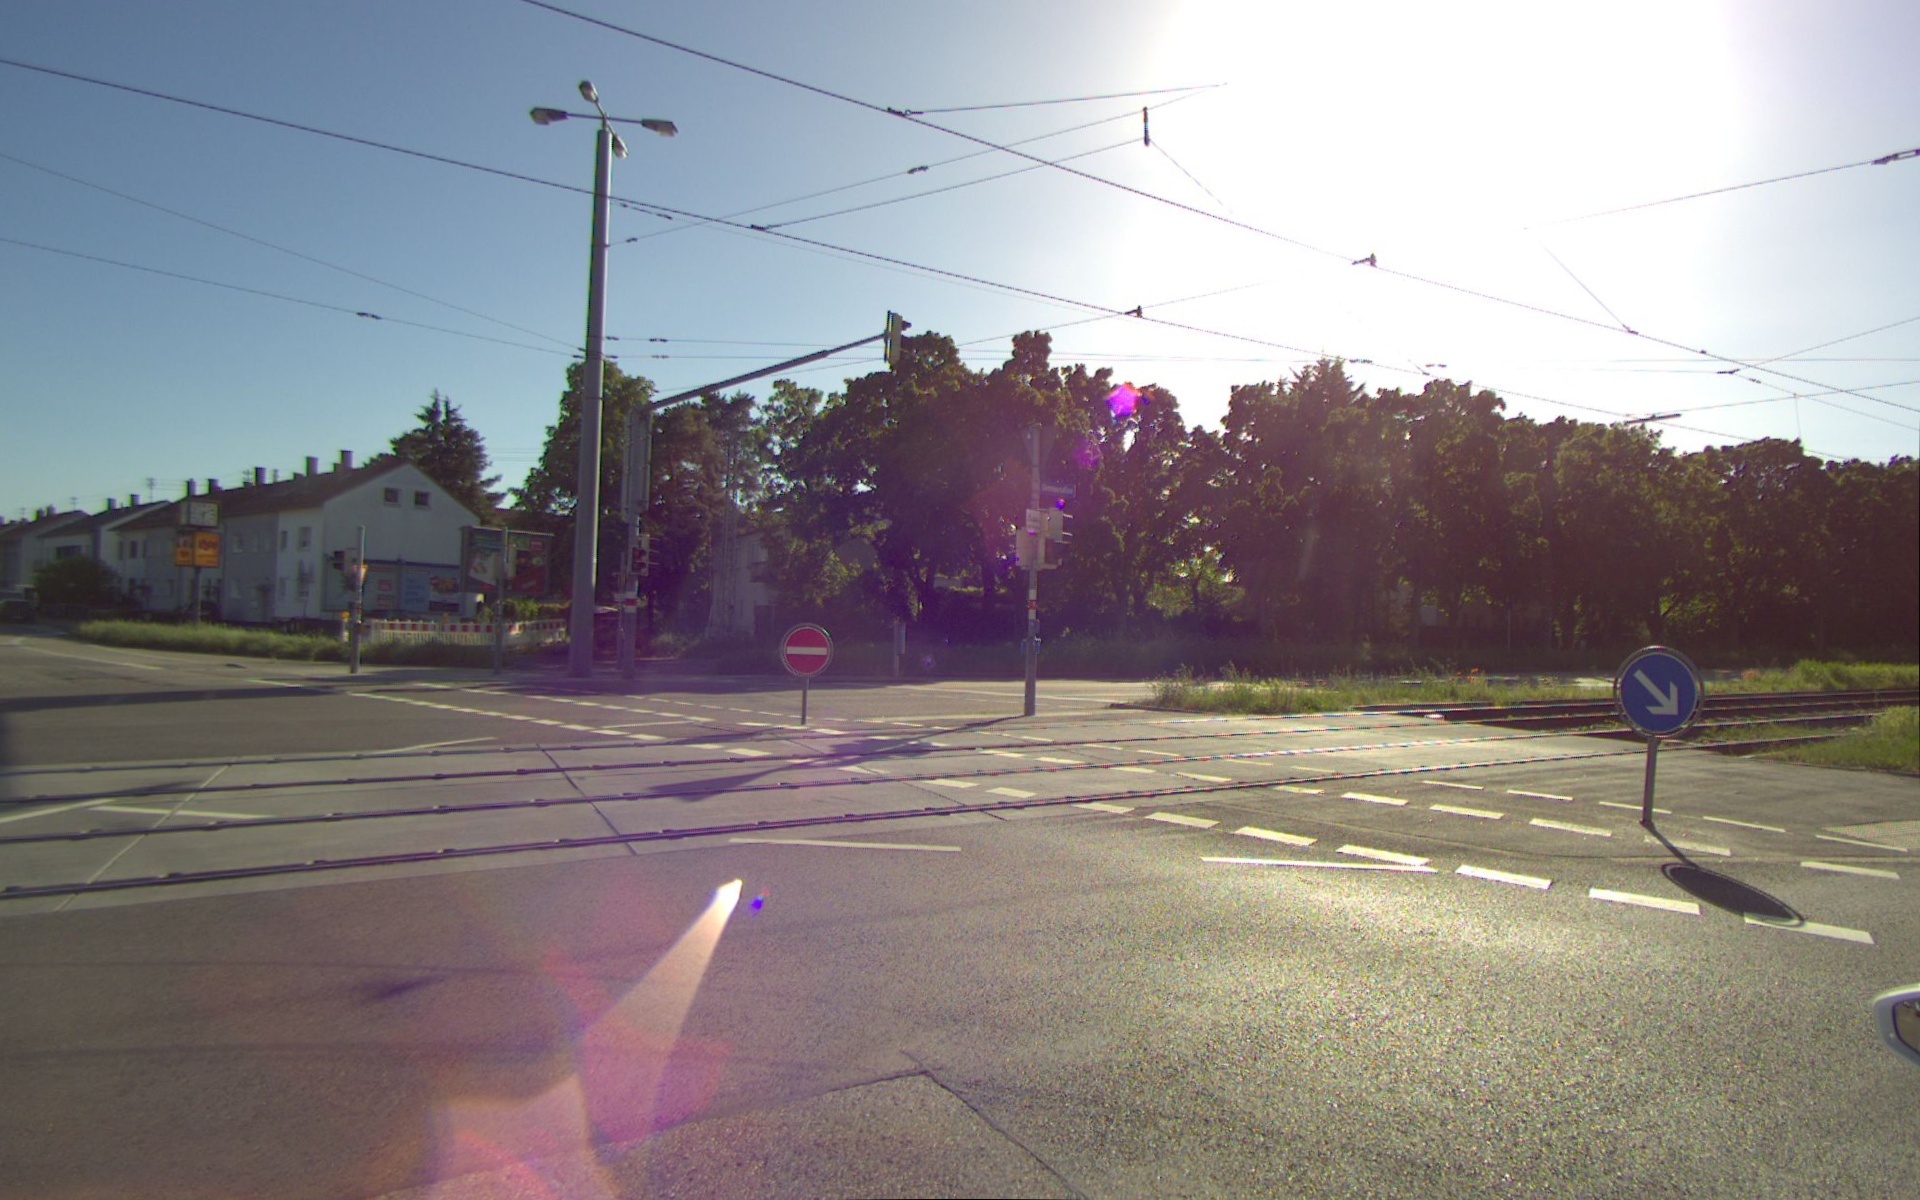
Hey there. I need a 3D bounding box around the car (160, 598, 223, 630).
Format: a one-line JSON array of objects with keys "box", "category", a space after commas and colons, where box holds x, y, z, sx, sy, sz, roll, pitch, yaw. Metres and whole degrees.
[{"box": [-45.363, 0.813, 59.266, 3.936, 1.785, 1.993, 1, -1, 37], "category": "car"}]

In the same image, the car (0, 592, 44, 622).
[{"box": [-59.405, 0.399, 63.113, 3.936, 1.785, 1.993, 1, -1, 37], "category": "car"}]

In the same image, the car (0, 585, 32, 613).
[{"box": [-62.986, -0.087, 66.190, 3.936, 1.785, 1.993, 1, -1, 37], "category": "car"}]
